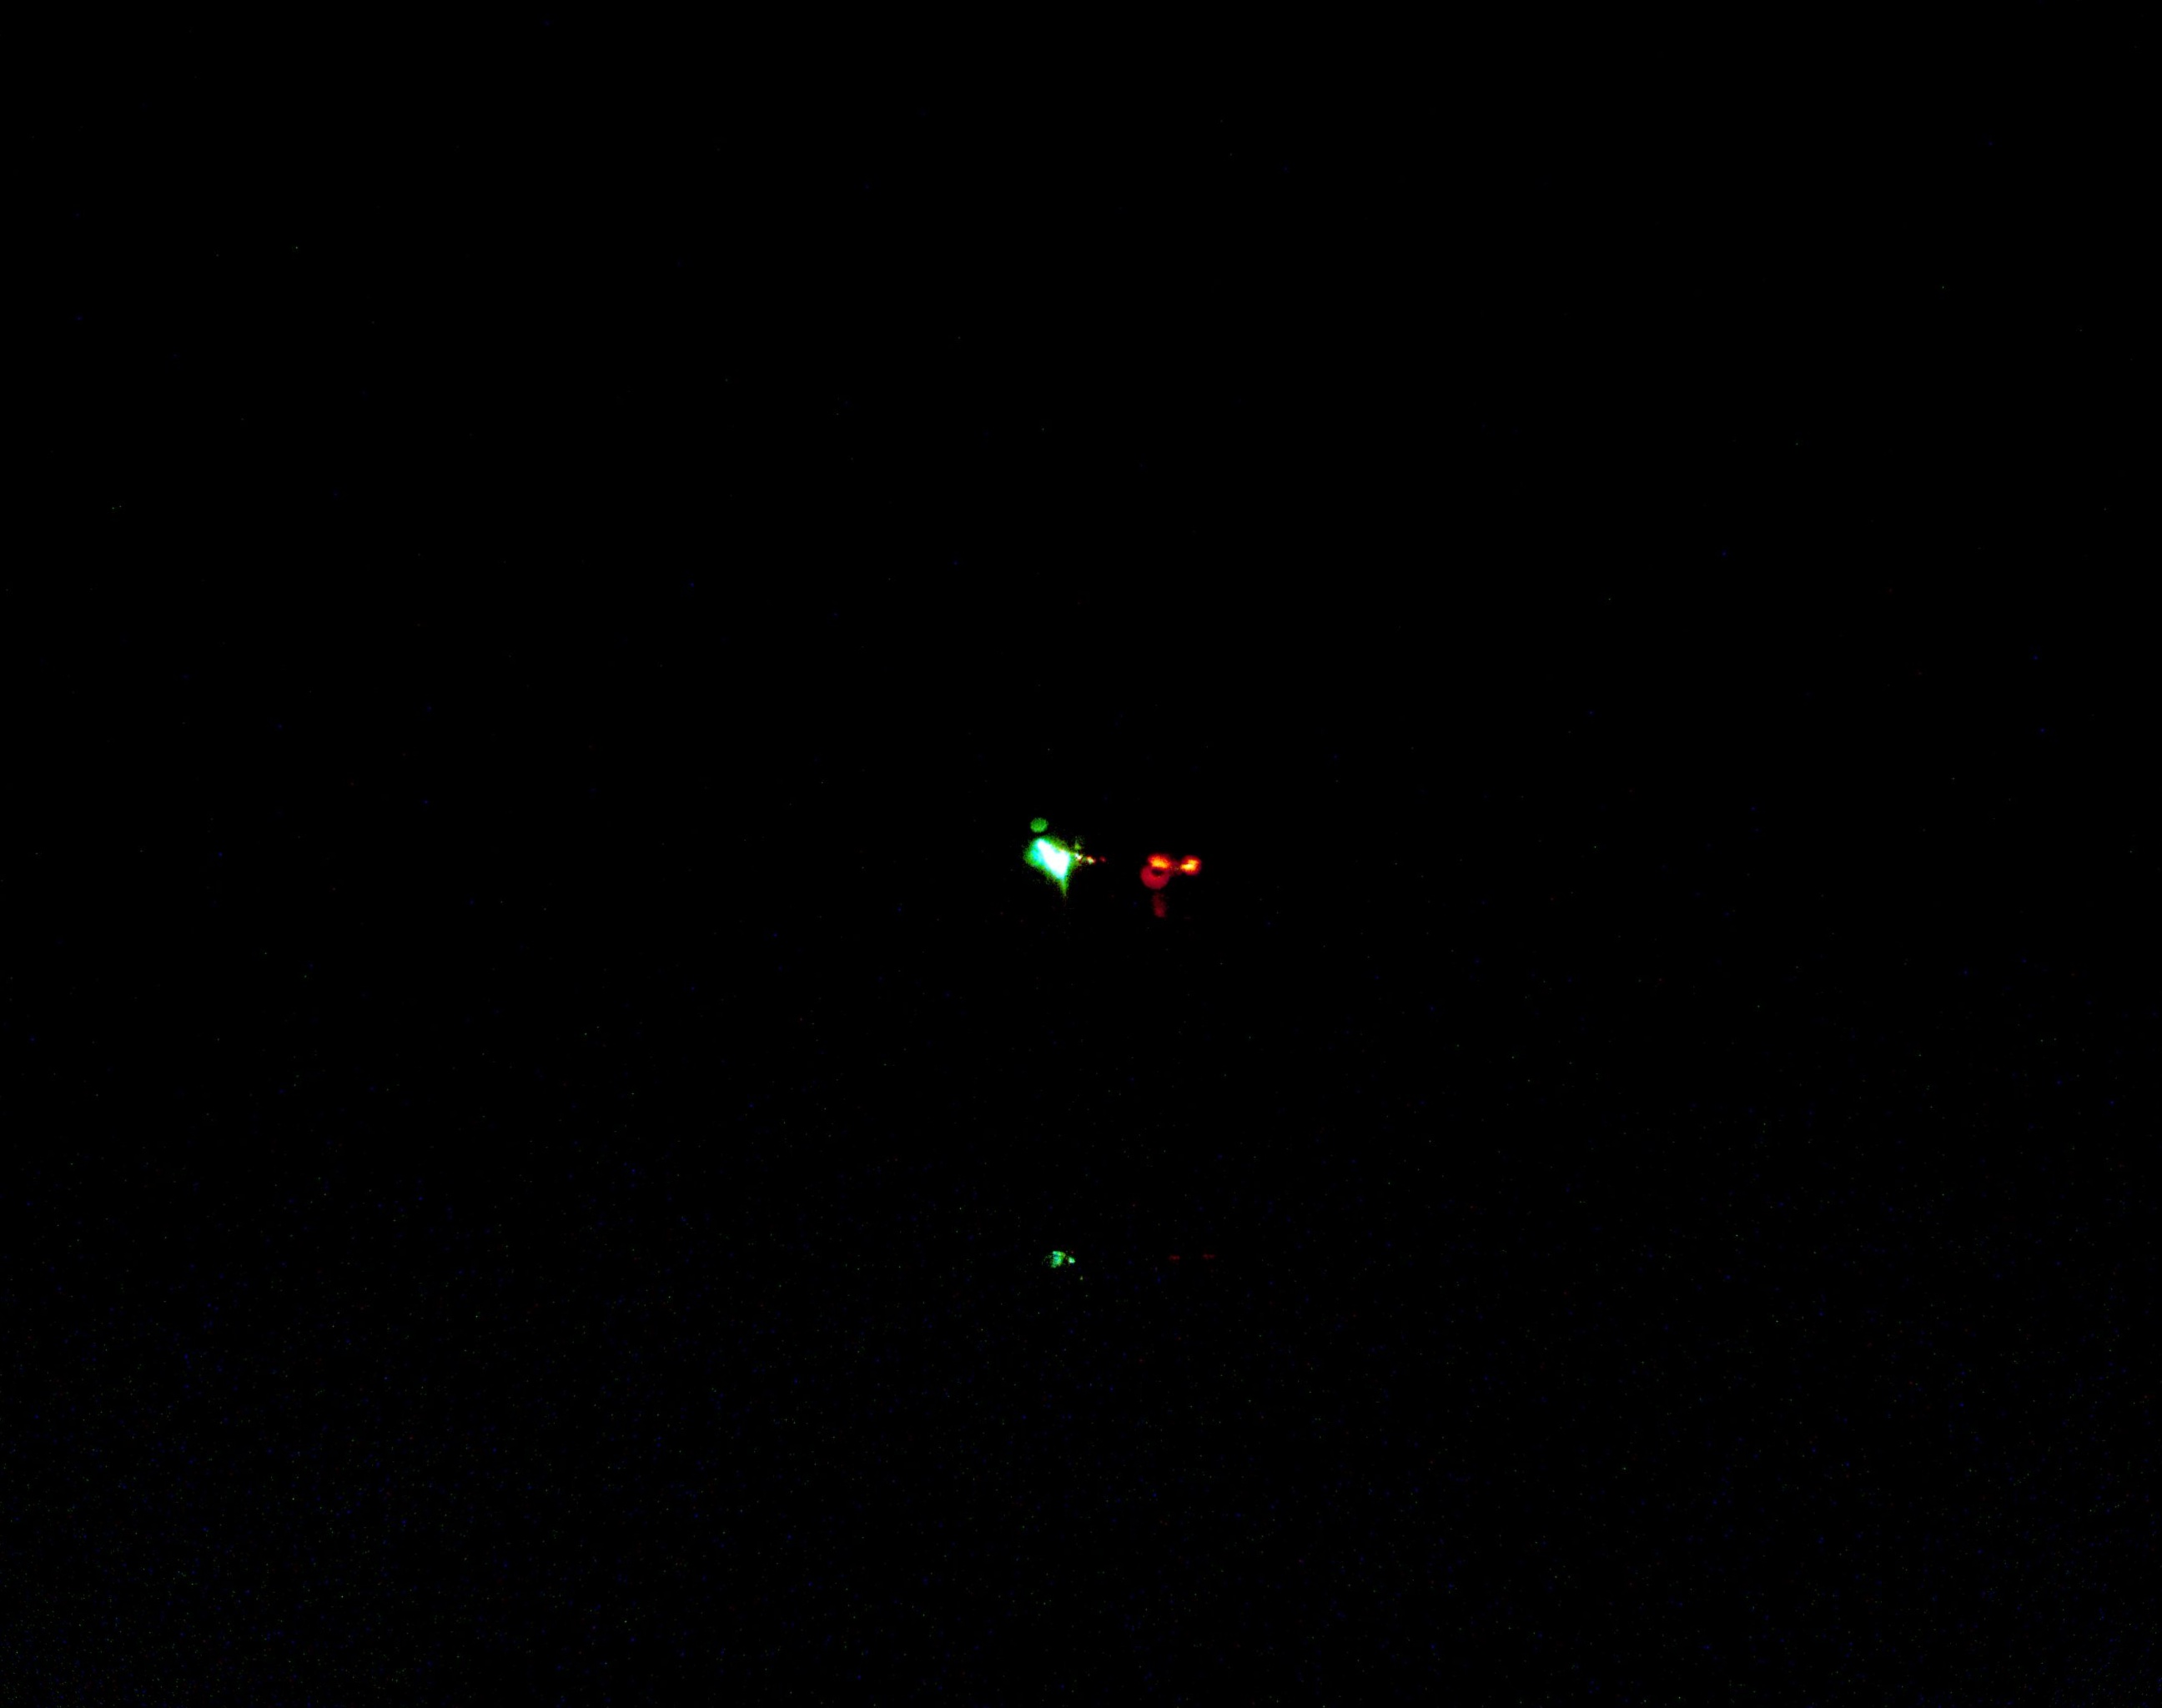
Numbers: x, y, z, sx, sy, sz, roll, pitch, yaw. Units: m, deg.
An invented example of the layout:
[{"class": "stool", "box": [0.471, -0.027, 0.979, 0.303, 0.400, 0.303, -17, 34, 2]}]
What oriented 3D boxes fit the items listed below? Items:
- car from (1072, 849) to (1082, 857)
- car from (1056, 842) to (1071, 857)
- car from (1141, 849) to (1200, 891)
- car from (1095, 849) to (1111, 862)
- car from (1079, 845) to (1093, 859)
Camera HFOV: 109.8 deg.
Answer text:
[{"class": "car", "box": [-0.822, -0.202, 148.086, 1.824, 1.433, 3.998, 0, 1, -3]}, {"class": "car", "box": [-2.532, -0.699, 107.125, 1.999, 2.002, 3.998, 0, 1, -3]}, {"class": "car", "box": [3.735, 0.620, 32.340, 1.998, 1.615, 3.999, -2, 0, 0]}, {"class": "car", "box": [2.437, 0.107, 86.317, 1.600, 1.394, 3.468, 0, 1, -2]}, {"class": "car", "box": [0.724, -0.303, 106.751, 1.808, 1.917, 3.998, 0, 1, -2]}]
